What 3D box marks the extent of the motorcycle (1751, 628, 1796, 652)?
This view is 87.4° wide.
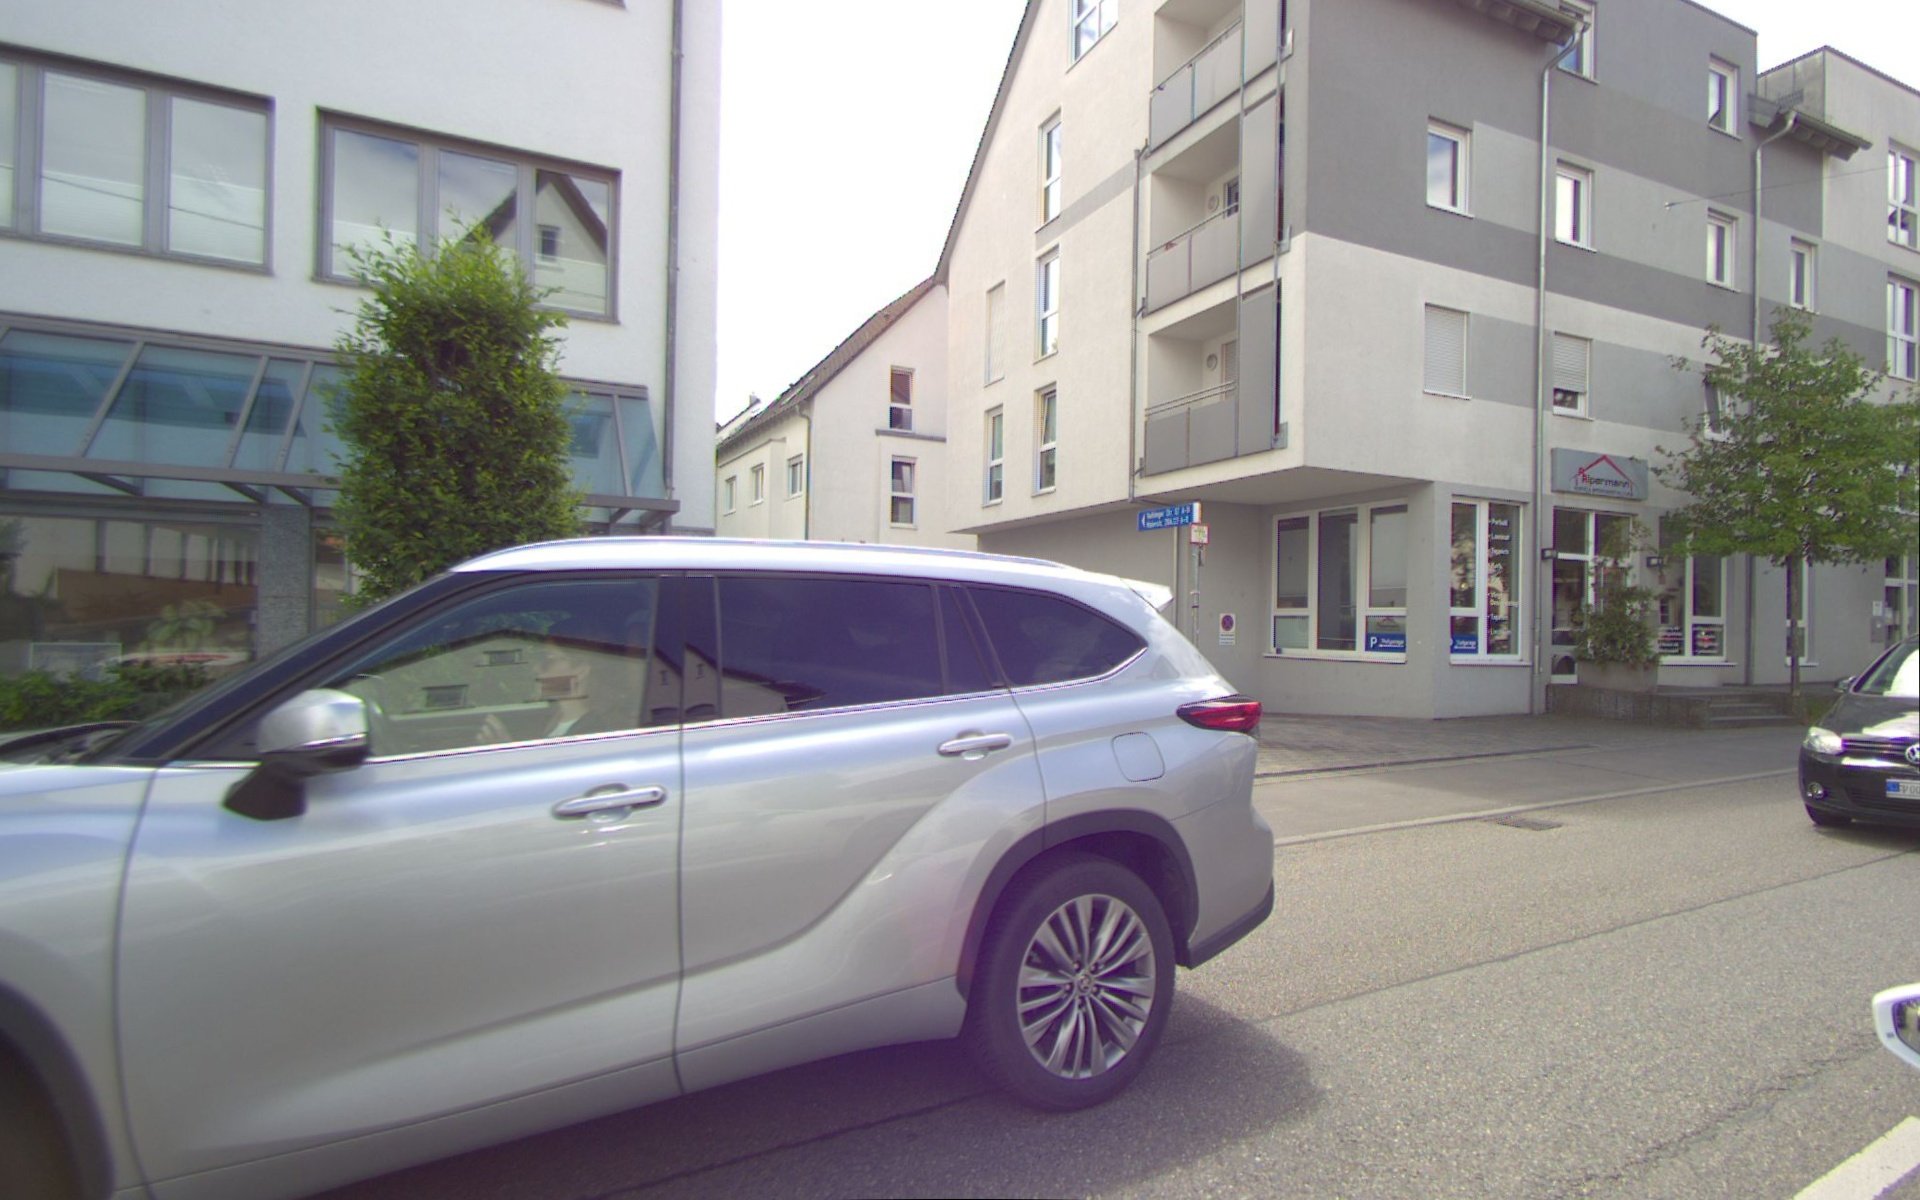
[{"bbox_3d":[36.438,1.769,44.977,2.320,1.018,1.191,1,0,-41],"label":"motorcycle"}]

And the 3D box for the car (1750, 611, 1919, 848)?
[{"bbox_3d":[8.185,0.915,7.878,3.991,1.605,1.823,1,-3,-31],"label":"car"}]

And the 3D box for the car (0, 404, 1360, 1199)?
[{"bbox_3d":[-1.112,0.606,3.277,4.739,1.760,1.977,1,-4,-30],"label":"car"}]
